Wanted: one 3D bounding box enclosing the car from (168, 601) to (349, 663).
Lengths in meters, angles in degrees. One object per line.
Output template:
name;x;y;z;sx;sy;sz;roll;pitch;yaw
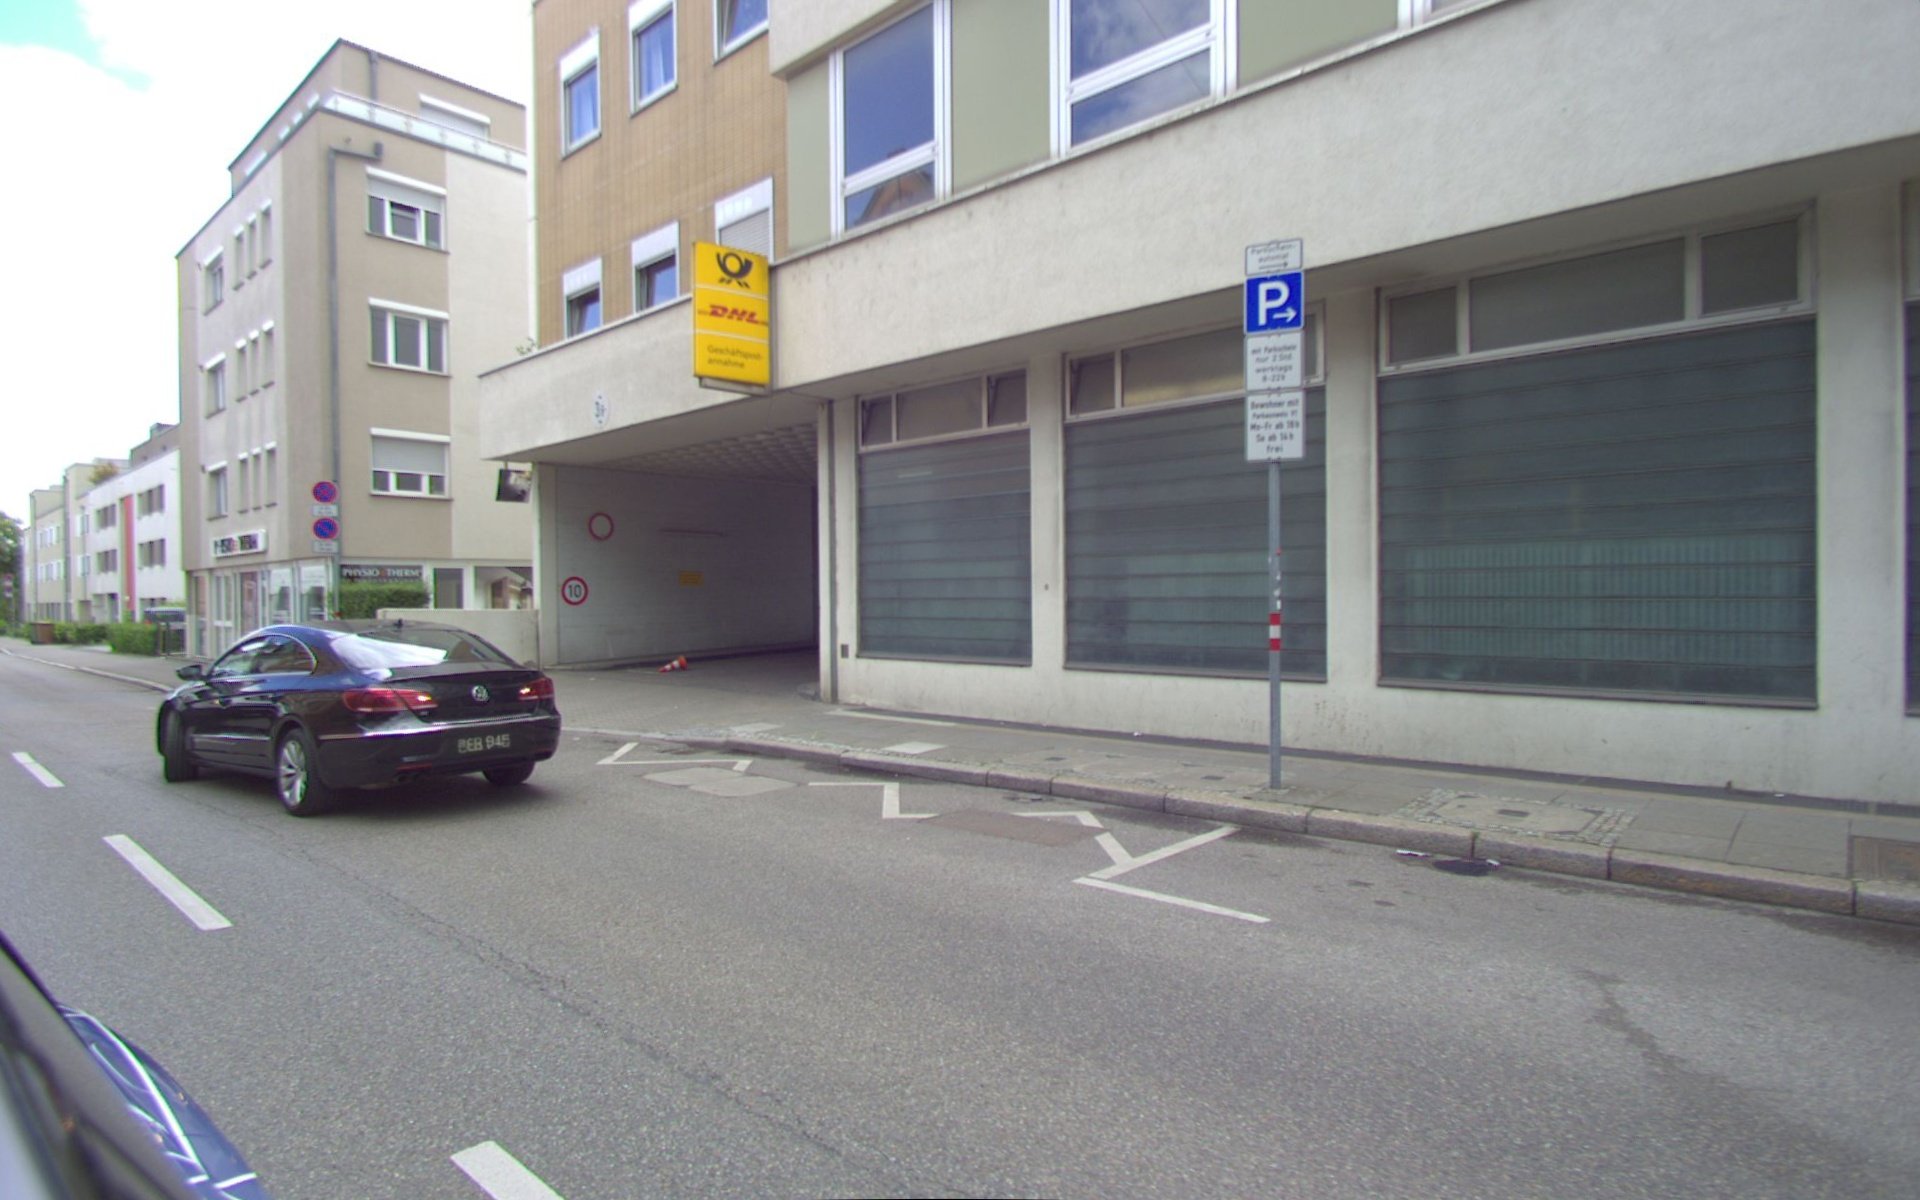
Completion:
car;-24.857;1.070;35.991;1.967;2.013;5.014;-1;-1;44

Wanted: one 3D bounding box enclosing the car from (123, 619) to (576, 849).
car;-5.242;0.894;8.453;4.445;1.409;1.637;-1;0;36
